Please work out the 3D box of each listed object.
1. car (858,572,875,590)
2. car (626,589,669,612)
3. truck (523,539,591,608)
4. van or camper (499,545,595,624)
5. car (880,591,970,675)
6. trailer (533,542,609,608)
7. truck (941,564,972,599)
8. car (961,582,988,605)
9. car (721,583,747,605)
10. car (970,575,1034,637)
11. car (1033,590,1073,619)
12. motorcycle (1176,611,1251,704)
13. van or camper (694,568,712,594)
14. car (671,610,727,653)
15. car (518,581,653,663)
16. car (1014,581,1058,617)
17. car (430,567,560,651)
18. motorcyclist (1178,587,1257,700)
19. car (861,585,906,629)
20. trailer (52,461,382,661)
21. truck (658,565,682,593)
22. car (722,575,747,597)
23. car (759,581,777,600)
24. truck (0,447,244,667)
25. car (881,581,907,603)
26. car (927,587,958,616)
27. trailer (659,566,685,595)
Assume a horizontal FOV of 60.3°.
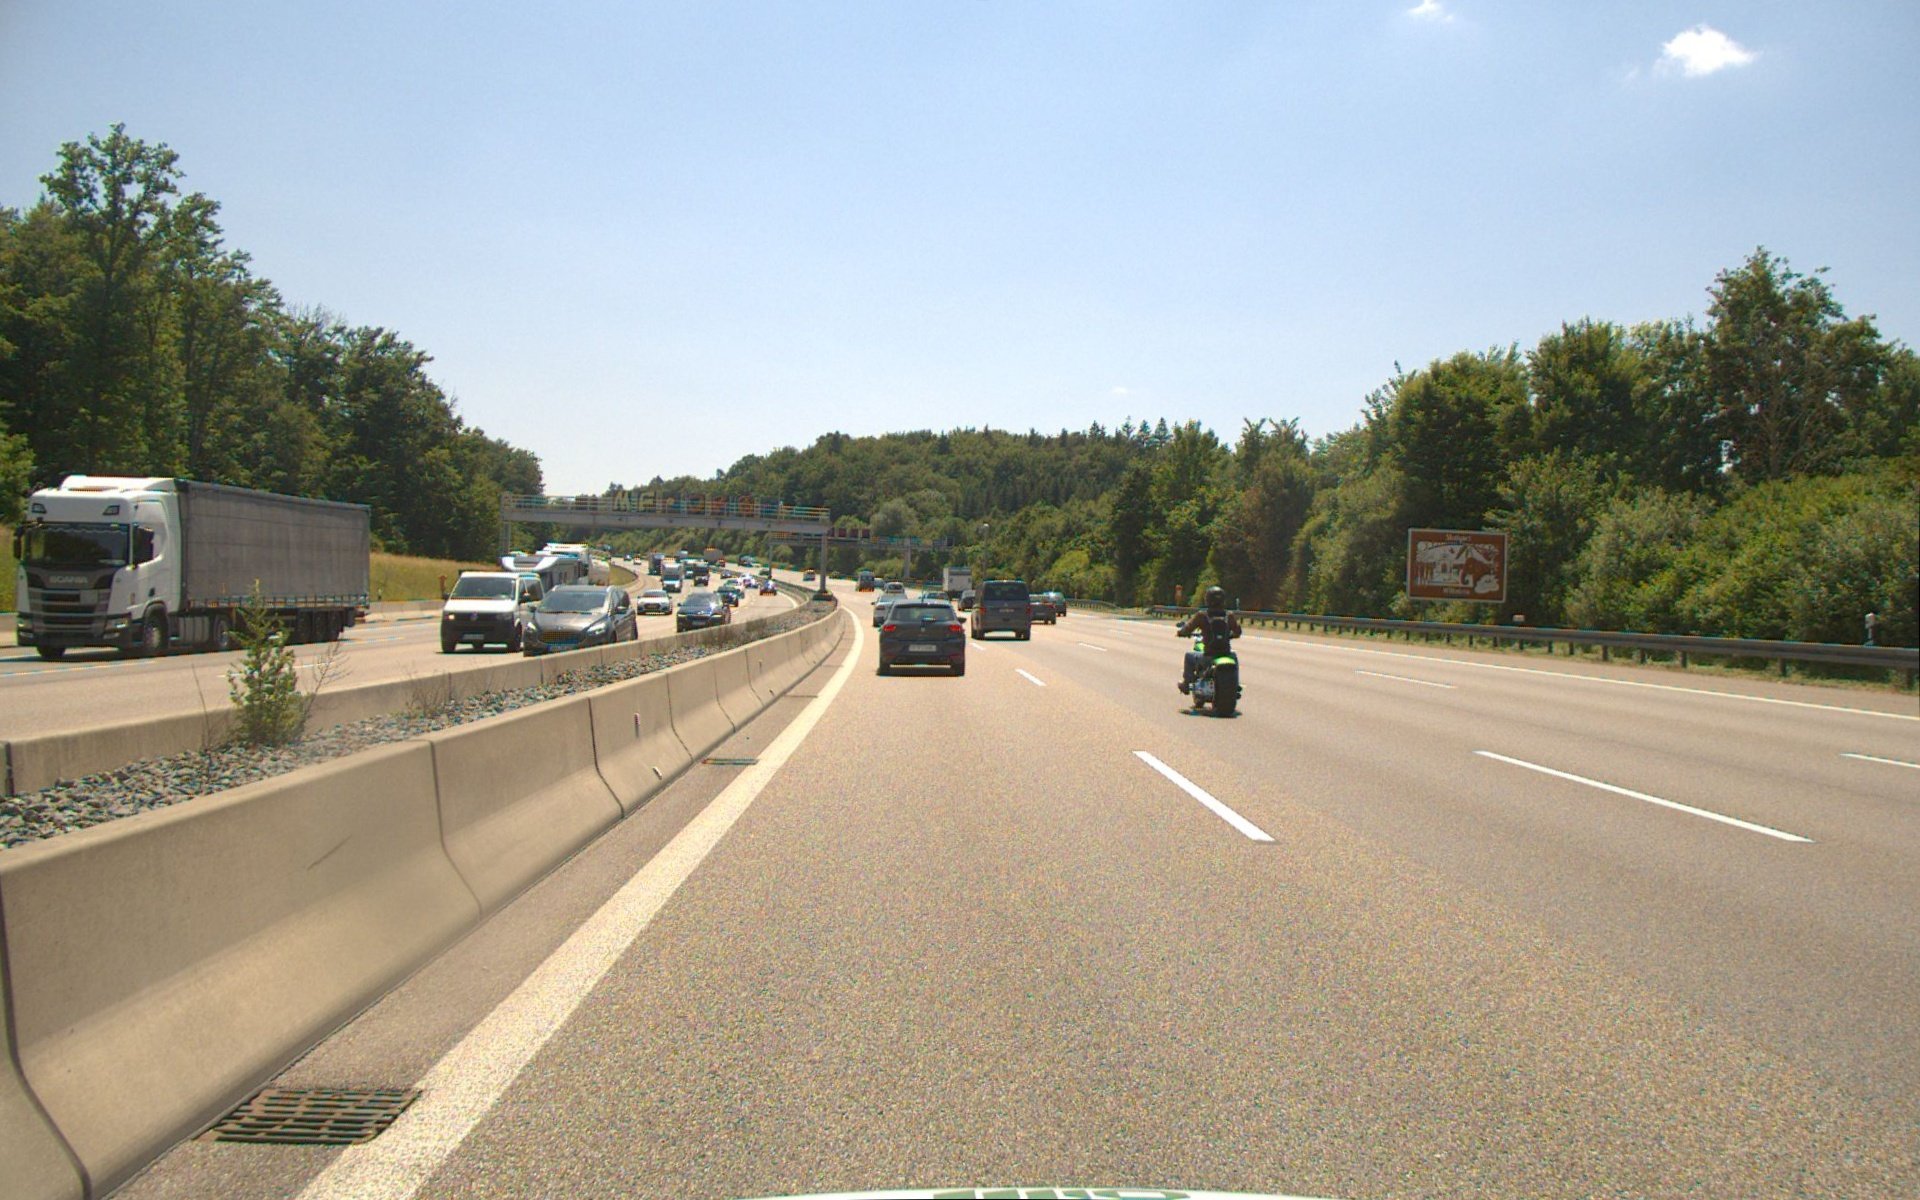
[{"bbox_3d":[-12.348,-2.551,219.255,2.220,2.412,4.700,0,1,-2],"label":"car"},{"bbox_3d":[-17.980,0.031,95.303,1.954,1.243,3.997,1,-1,-4],"label":"car"},{"bbox_3d":[-22.228,-1.417,91.468,2.651,3.605,6.613,1,-1,-5],"label":"truck"},{"bbox_3d":[-16.570,-0.601,66.750,2.508,2.982,7.343,0,0,-4],"label":"van or camper"},{"bbox_3d":[-0.687,0.603,33.088,1.673,1.458,4.000,1,1,-1],"label":"car"},{"bbox_3d":[-22.627,-1.344,96.732,2.599,3.597,10.485,1,-1,-4],"label":"trailer"},{"bbox_3d":[-0.374,-1.881,164.553,2.925,3.221,7.573,1,2,-2],"label":"truck"},{"bbox_3d":[0.997,-0.484,116.349,1.632,1.433,4.901,1,2,-3],"label":"car"},{"bbox_3d":[-17.065,-0.418,125.181,1.642,1.553,4.607,1,-1,-4],"label":"car"},{"bbox_3d":[1.437,0.223,57.975,1.923,2.069,5.081,1,-1,-2],"label":"car"},{"bbox_3d":[5.730,0.255,102.583,1.955,1.758,3.996,0,0,-5],"label":"car"},{"bbox_3d":[3.394,0.741,22.364,0.525,1.155,2.435,0,0,-3],"label":"motorcycle"},{"bbox_3d":[-38.420,-2.857,247.312,2.384,3.742,7.747,0,1,-7],"label":"van or camper"},{"bbox_3d":[-9.875,1.160,62.872,1.641,1.523,4.948,1,-1,-4],"label":"car"},{"bbox_3d":[-8.054,0.437,36.018,1.834,1.662,5.162,0,0,-1],"label":"car"},{"bbox_3d":[3.747,-0.059,81.780,1.812,1.758,3.998,0,0,-3],"label":"car"},{"bbox_3d":[-11.957,0.222,42.907,1.962,2.049,5.183,0,0,-1],"label":"car"},{"bbox_3d":[3.410,0.564,21.980,0.835,1.452,1.023,0,1,-3],"label":"motorcyclist"},{"bbox_3d":[-3.435,0.337,74.742,1.972,1.878,3.997,0,-2,-3],"label":"car"},{"bbox_3d":[-19.215,-0.818,44.383,2.971,4.437,14.267,1,-1,-3],"label":"trailer"},{"bbox_3d":[-33.982,-2.401,193.728,2.440,3.222,4.396,1,0,-6],"label":"truck"},{"bbox_3d":[-22.676,-1.398,166.478,2.153,2.091,7.133,0,0,-6],"label":"car"},{"bbox_3d":[-21.566,-1.088,185.322,1.956,2.049,3.994,1,-1,-7],"label":"car"},{"bbox_3d":[-18.870,-0.851,37.051,2.982,4.449,6.451,1,-1,-3],"label":"truck"},{"bbox_3d":[-6.056,-0.741,151.254,2.063,1.774,4.682,1,2,-6],"label":"car"},{"bbox_3d":[-1.125,0.118,104.508,1.906,1.742,3.998,1,-1,-2],"label":"car"},{"bbox_3d":[-34.559,-2.341,198.827,2.427,3.209,10.464,1,-1,-7],"label":"trailer"}]
